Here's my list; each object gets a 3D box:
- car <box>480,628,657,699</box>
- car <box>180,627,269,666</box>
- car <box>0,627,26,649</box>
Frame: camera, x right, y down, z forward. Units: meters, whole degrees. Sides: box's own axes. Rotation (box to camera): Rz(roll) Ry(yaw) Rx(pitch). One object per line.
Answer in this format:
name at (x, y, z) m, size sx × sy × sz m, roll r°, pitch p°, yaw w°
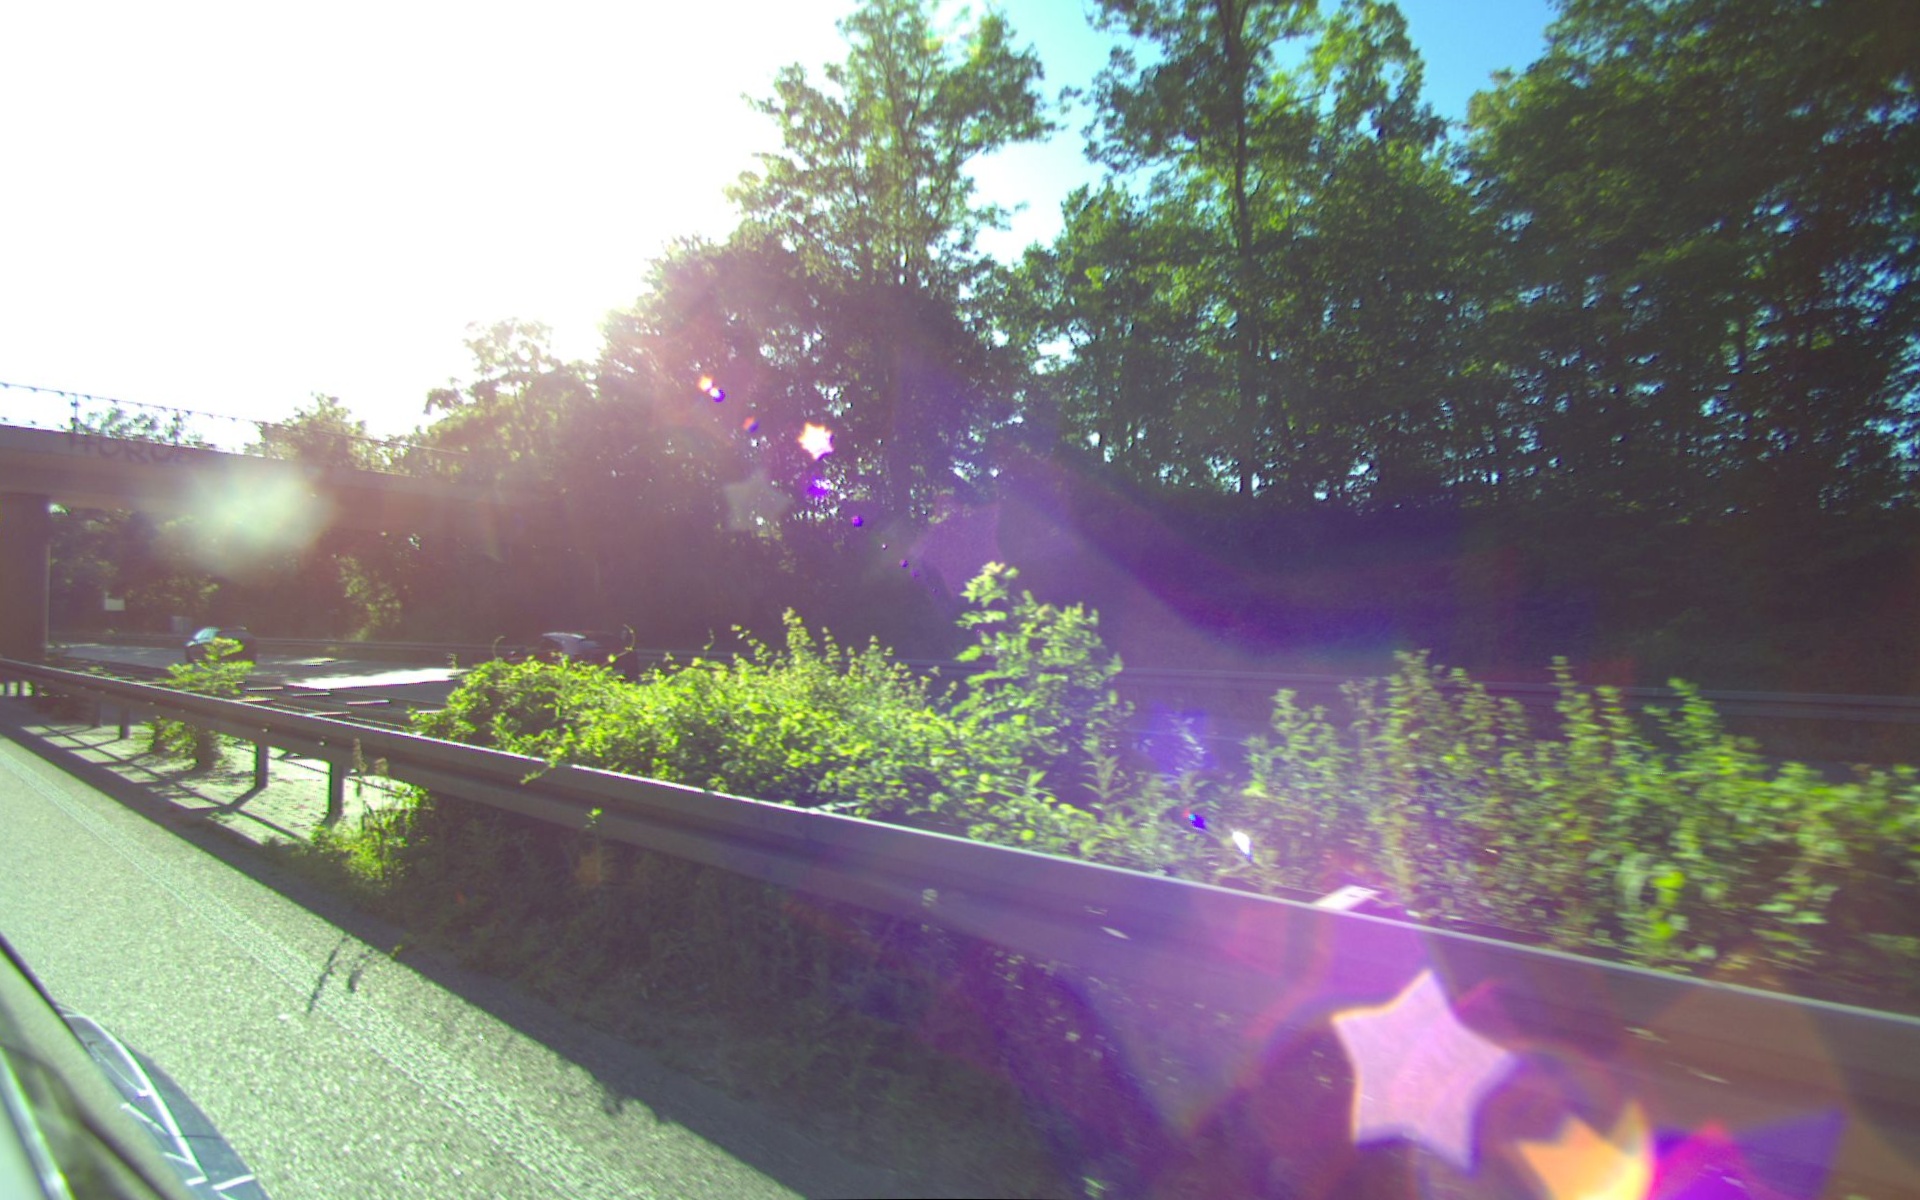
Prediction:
car at (-9.270, 1.416, 23.818) m, size 4.580 × 1.461 × 1.941 m, roll -1°, pitch -1°, yaw 40°
car at (-30.460, 1.894, 41.857) m, size 4.703 × 1.461 × 1.941 m, roll -1°, pitch 0°, yaw 40°
car at (-75.359, 2.971, 79.842) m, size 5.038 × 1.672 × 1.940 m, roll -1°, pitch -2°, yaw 41°
